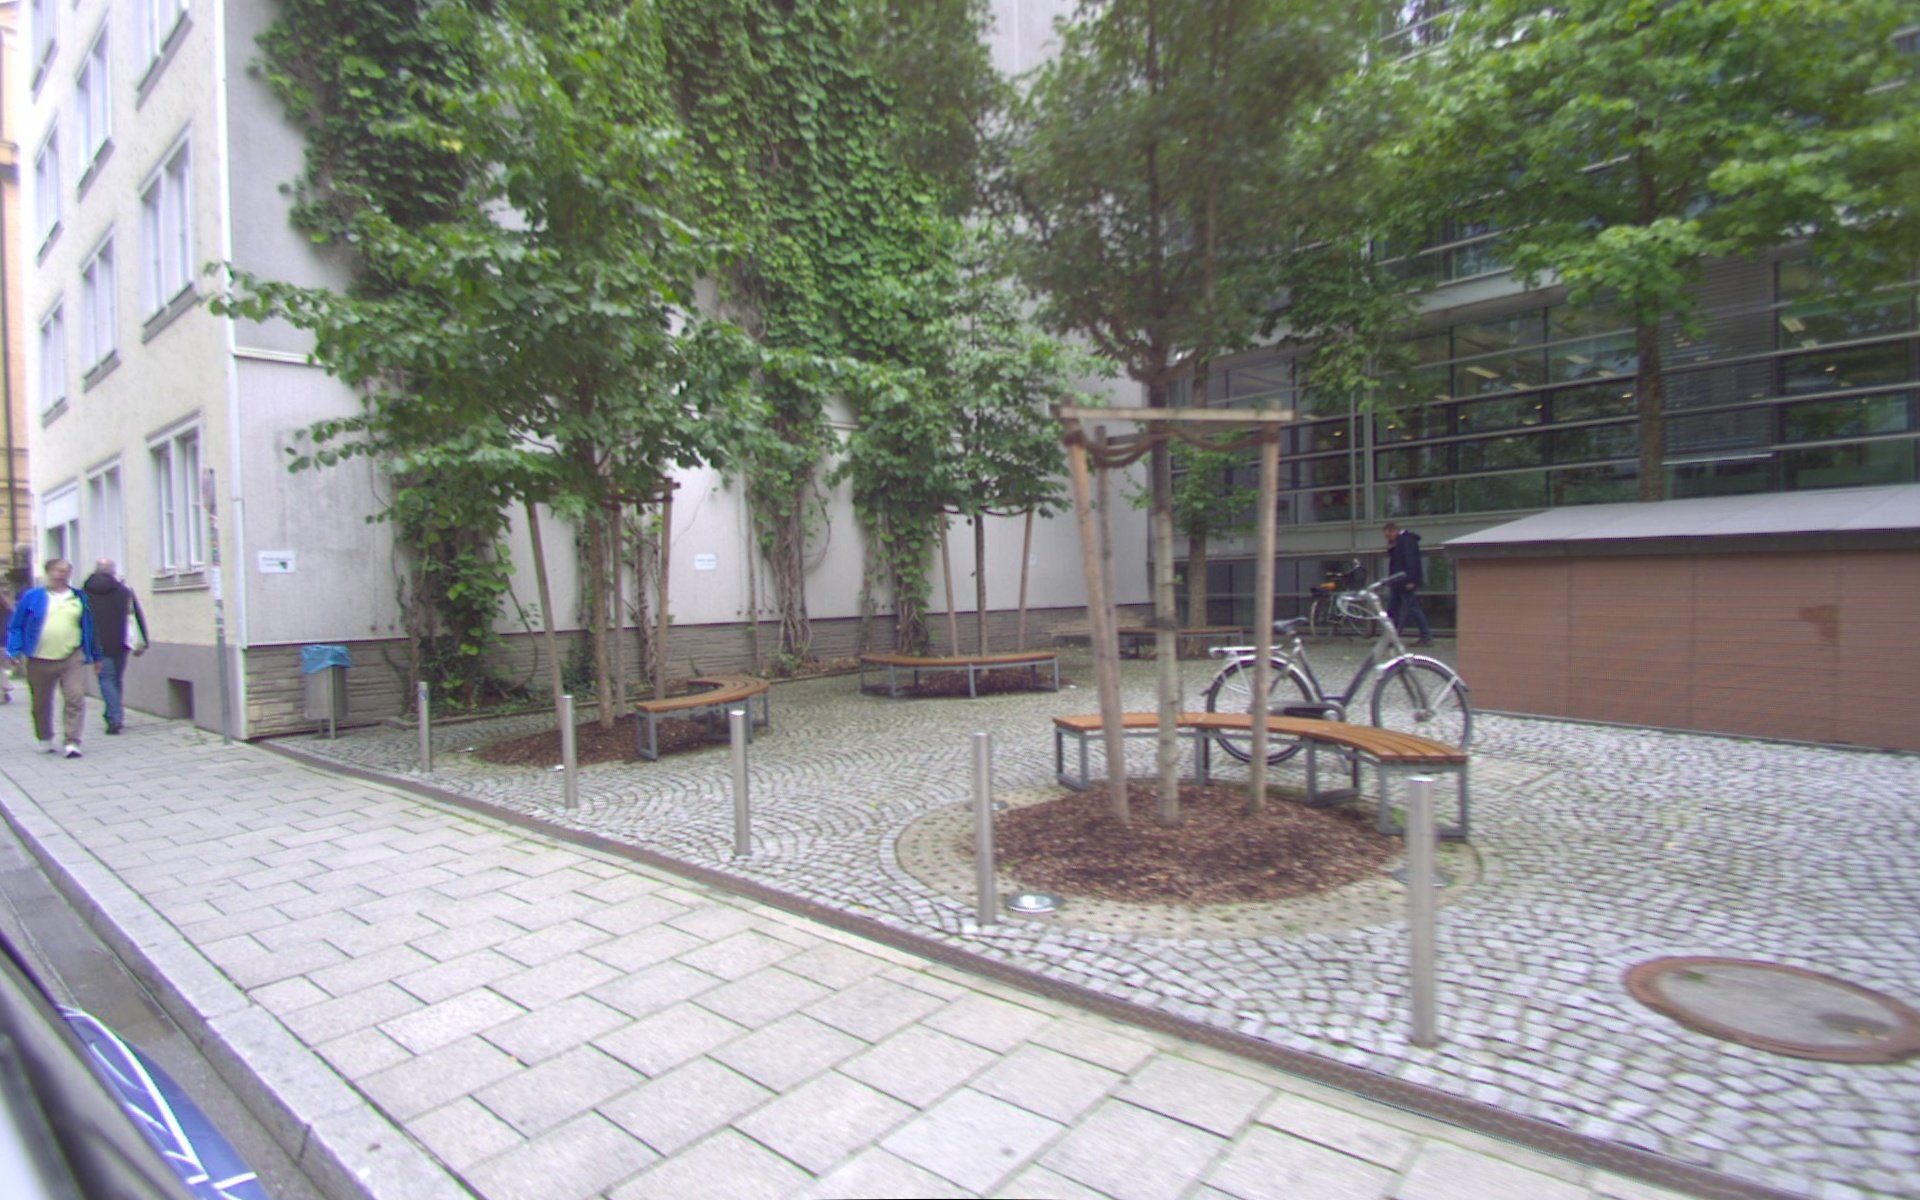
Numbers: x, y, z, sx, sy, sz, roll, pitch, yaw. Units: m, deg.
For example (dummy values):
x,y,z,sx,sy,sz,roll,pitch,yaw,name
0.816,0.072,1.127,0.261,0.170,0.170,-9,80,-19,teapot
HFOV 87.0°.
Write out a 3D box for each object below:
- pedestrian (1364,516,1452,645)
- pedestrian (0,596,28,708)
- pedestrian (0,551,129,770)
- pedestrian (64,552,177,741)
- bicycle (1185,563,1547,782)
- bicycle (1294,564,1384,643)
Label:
x,y,z,sx,sy,sz,roll,pitch,yaw,name
6.433,-0.272,14.552,0.944,1.783,0.681,-1,1,44,pedestrian
-13.904,0.754,14.475,0.776,1.563,0.702,-2,1,41,pedestrian
-8.299,0.512,9.287,0.974,1.858,0.849,-2,1,43,pedestrian
-9.031,0.469,10.884,0.879,1.917,0.735,-2,1,42,pedestrian
2.499,0.419,6.386,1.986,1.217,0.708,-2,2,24,bicycle
5.946,0.037,15.835,1.700,1.151,0.603,-2,1,-43,bicycle
